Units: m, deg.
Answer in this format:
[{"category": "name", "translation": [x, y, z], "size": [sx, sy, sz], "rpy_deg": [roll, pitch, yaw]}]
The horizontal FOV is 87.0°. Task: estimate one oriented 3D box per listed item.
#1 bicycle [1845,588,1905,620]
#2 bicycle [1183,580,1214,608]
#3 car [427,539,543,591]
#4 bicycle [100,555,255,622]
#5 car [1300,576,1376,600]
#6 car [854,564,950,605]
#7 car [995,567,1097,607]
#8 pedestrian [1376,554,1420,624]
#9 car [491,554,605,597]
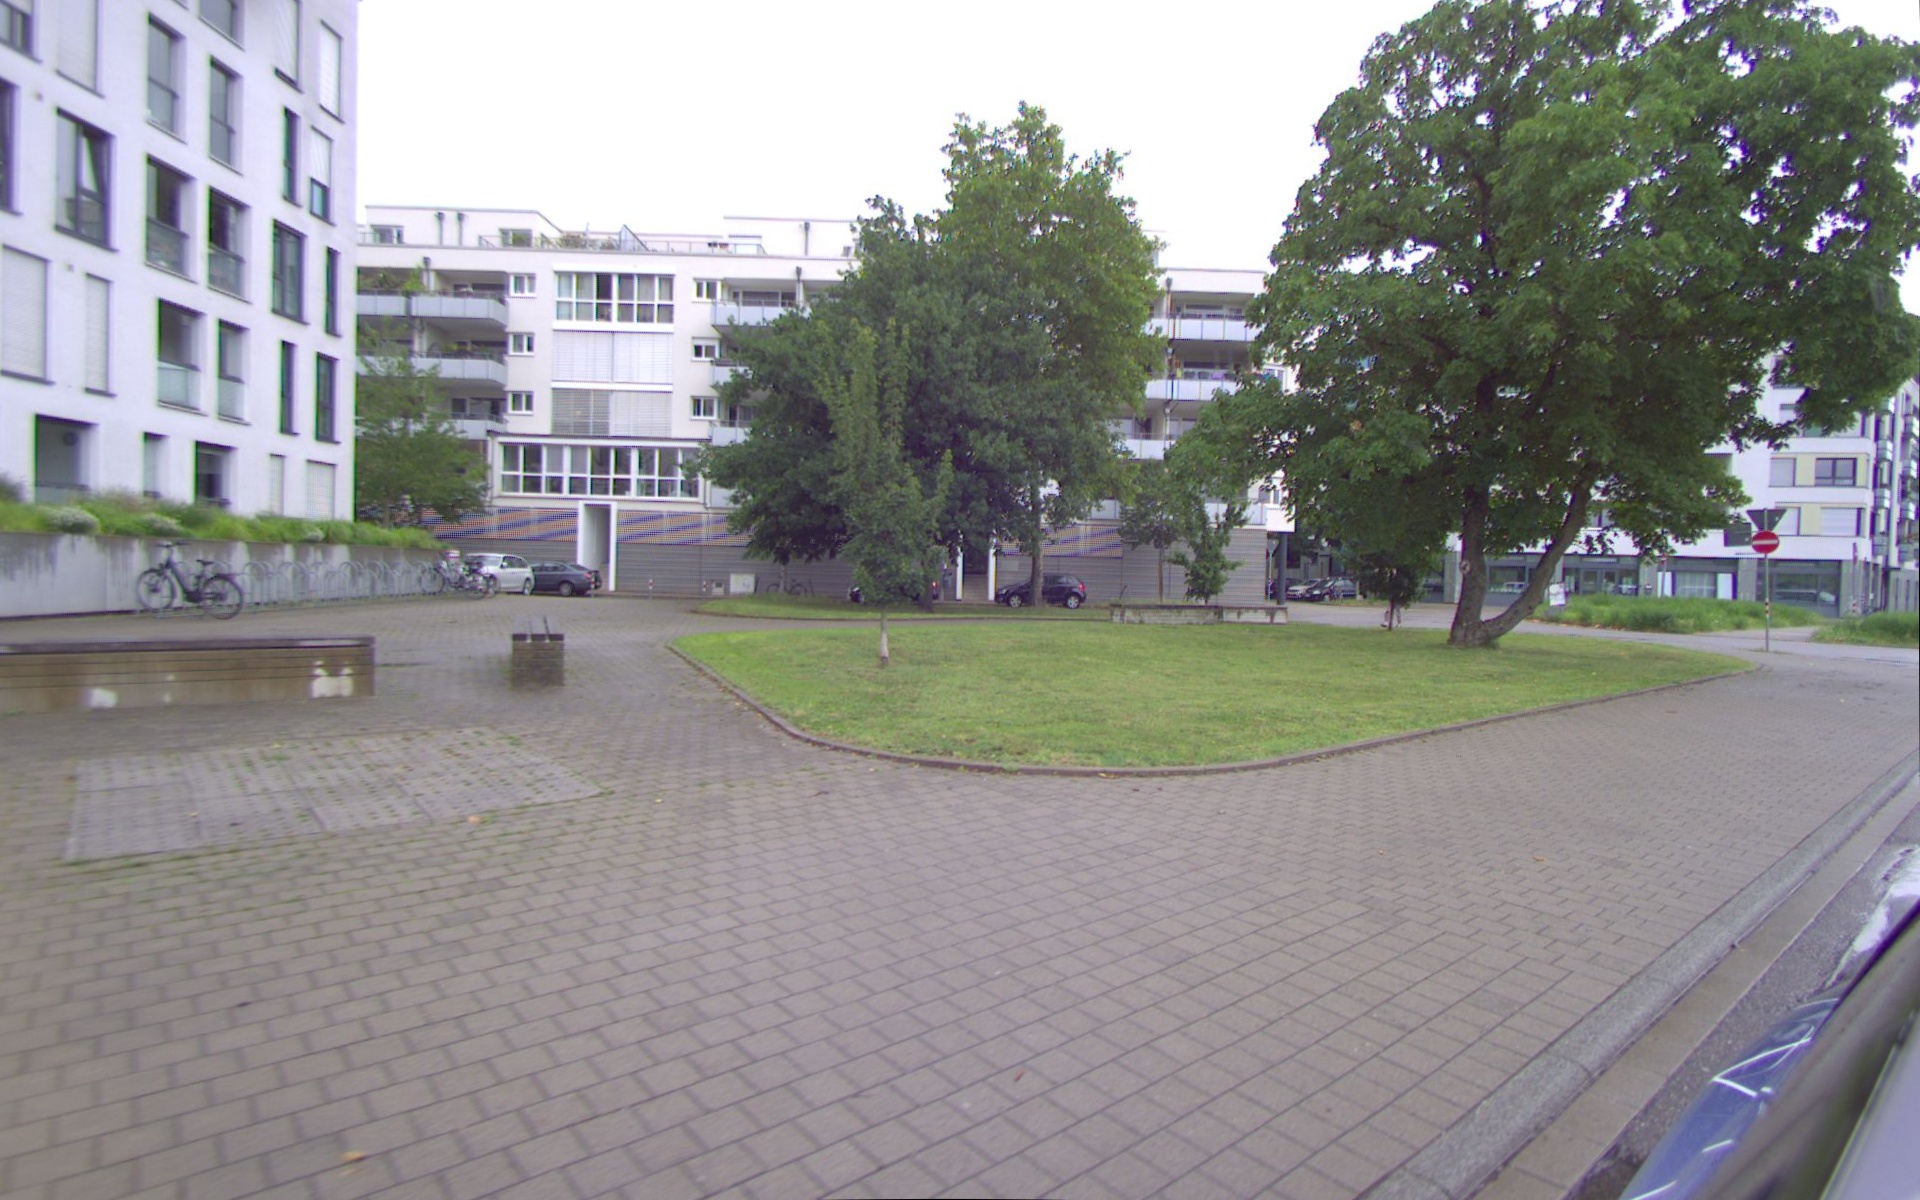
[{"category": "bicycle", "translation": [47.248, 0.193, 52.310], "size": [0.617, 1.541, 2.200], "rpy_deg": [1, 2, -20]}, {"category": "bicycle", "translation": [10.079, -0.284, 42.799], "size": [0.712, 1.101, 2.485], "rpy_deg": [2, 1, 0]}, {"category": "car", "translation": [-15.809, -1.101, 33.983], "size": [1.594, 1.526, 4.836], "rpy_deg": [1, 0, 0]}, {"category": "bicycle", "translation": [-13.061, -0.205, 16.928], "size": [2.033, 1.046, 0.725], "rpy_deg": [1, 1, -1]}, {"category": "car", "translation": [24.680, -0.801, 66.015], "size": [4.428, 1.450, 1.818], "rpy_deg": [1, 2, -18]}, {"category": "car", "translation": [-2.414, -0.663, 42.593], "size": [3.923, 1.567, 1.736], "rpy_deg": [1, 1, -1]}, {"category": "car", "translation": [3.596, -0.560, 42.727], "size": [4.041, 1.567, 1.736], "rpy_deg": [1, 1, -1]}, {"category": "pedestrian", "translation": [13.054, -0.343, 30.193], "size": [0.611, 2.038, 0.967], "rpy_deg": [1, 1, -40]}, {"category": "car", "translation": [-17.282, -1.064, 42.551], "size": [4.064, 1.567, 1.776], "rpy_deg": [2, 3, -1]}]
